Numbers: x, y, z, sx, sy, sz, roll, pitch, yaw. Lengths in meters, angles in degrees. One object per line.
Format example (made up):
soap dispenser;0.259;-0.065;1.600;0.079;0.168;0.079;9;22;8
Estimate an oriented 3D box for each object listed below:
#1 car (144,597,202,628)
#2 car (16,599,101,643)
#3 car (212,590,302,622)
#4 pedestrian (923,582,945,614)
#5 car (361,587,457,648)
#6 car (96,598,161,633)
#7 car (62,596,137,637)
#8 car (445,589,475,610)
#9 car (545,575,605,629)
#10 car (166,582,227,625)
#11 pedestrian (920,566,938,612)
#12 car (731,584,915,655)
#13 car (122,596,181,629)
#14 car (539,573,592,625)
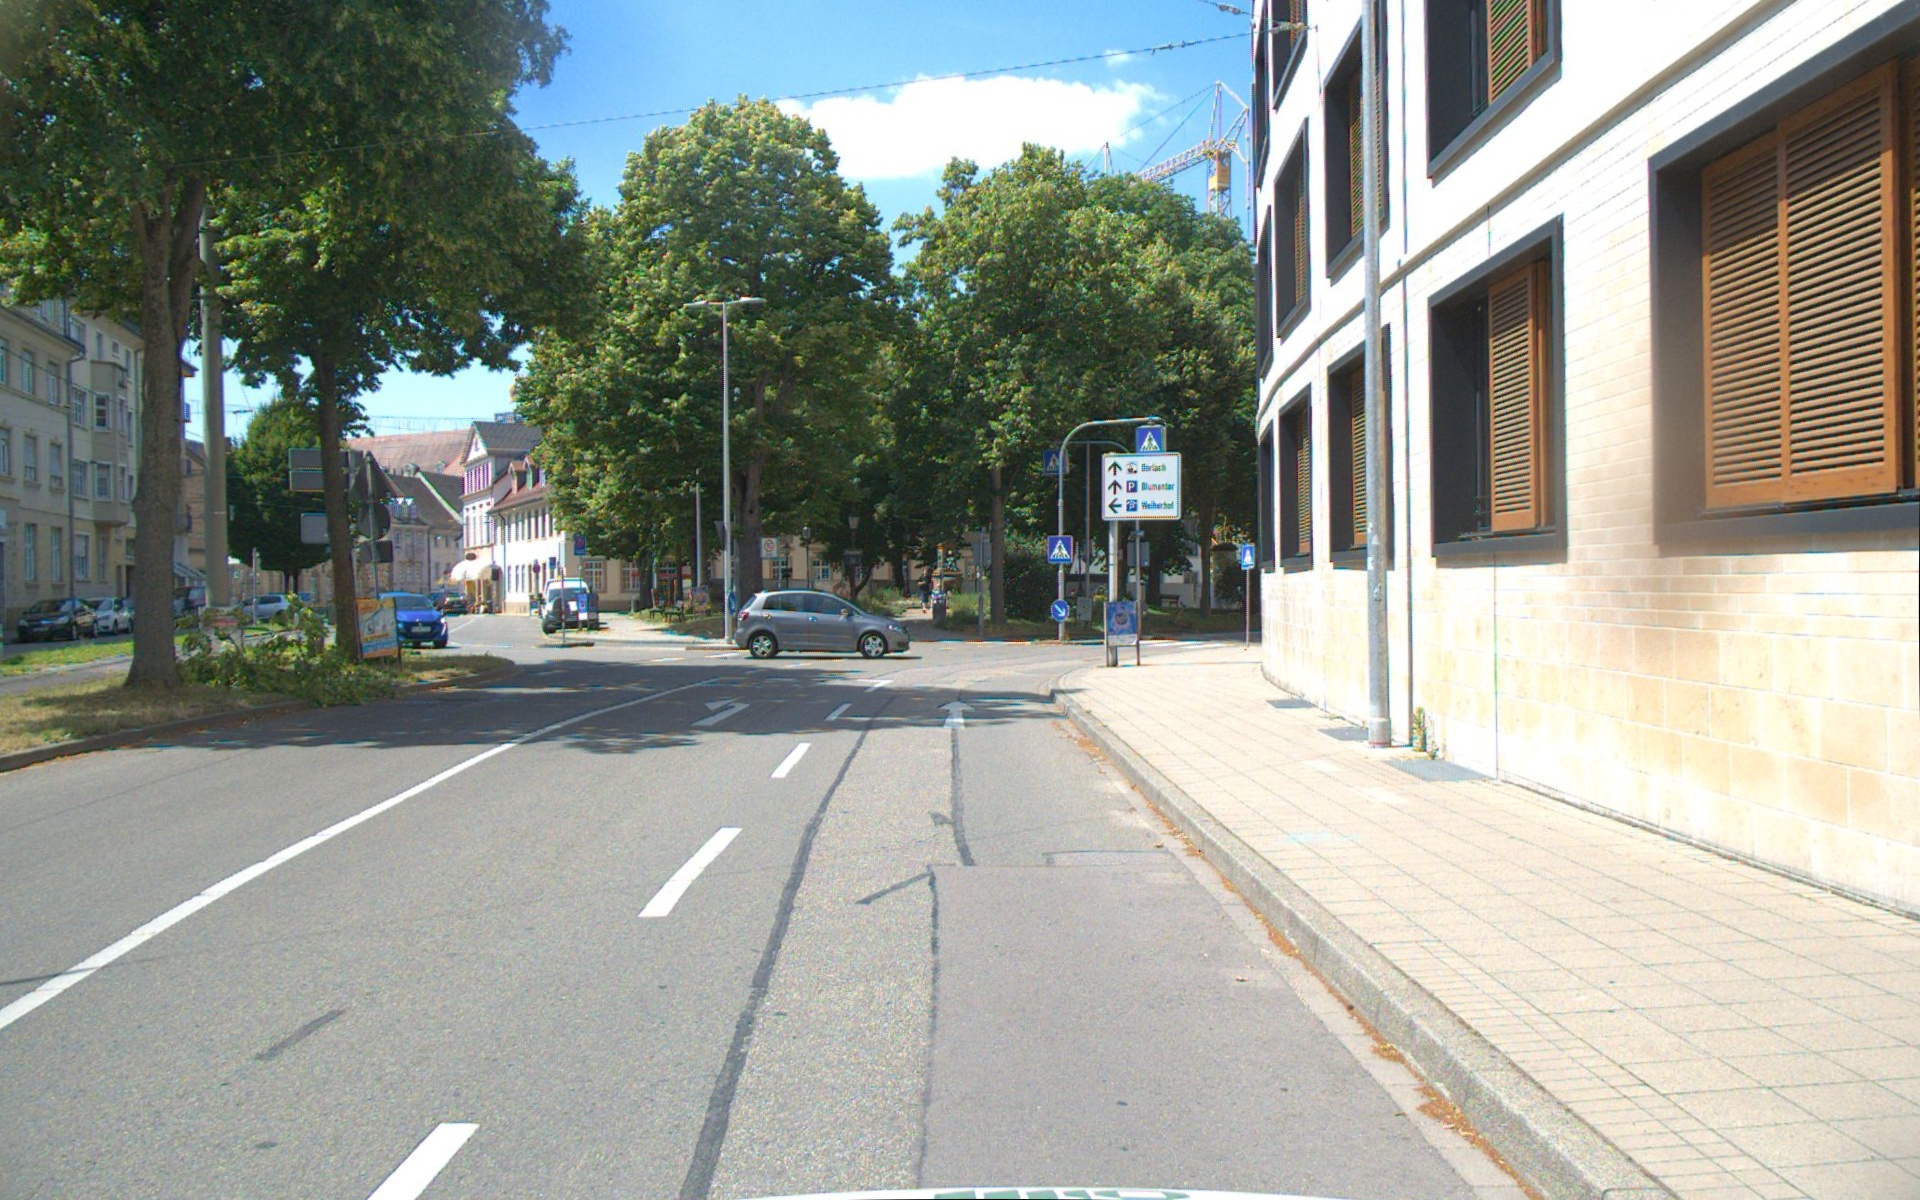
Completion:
car;-36.079;0.533;75.927;1.614;1.300;4.247;-2;1;-15
car;-31.127;0.688;57.211;1.658;1.384;3.842;-2;1;-15
car;-36.905;0.304;86.893;4.140;1.531;1.993;-2;1;-19
pedestrian;-1.079;-0.093;69.719;0.887;1.273;1.148;0;2;0
car;-15.030;0.440;45.016;1.790;1.518;3.962;-1;1;-29
car;-33.811;0.600;67.305;1.658;1.300;3.275;-2;1;-15
car;-32.540;0.615;62.626;1.658;1.414;3.842;-2;1;-15
car;-36.684;-0.008;121.263;1.834;1.512;3.974;0;0;-21
car;-13.864;0.044;59.402;1.961;1.858;4.404;0;0;-15
car;-37.284;0.145;80.875;1.822;1.944;4.752;-2;1;-15
pedestrian;-1.308;-0.474;70.623;0.732;1.944;0.684;0;1;0
car;-3.155;0.452;38.764;4.143;1.560;1.909;1;0;-1
car;-35.006;0.535;71.714;1.575;1.300;3.572;-2;1;-15
car;-16.116;-0.057;67.635;2.014;2.037;5.231;0;0;-13
